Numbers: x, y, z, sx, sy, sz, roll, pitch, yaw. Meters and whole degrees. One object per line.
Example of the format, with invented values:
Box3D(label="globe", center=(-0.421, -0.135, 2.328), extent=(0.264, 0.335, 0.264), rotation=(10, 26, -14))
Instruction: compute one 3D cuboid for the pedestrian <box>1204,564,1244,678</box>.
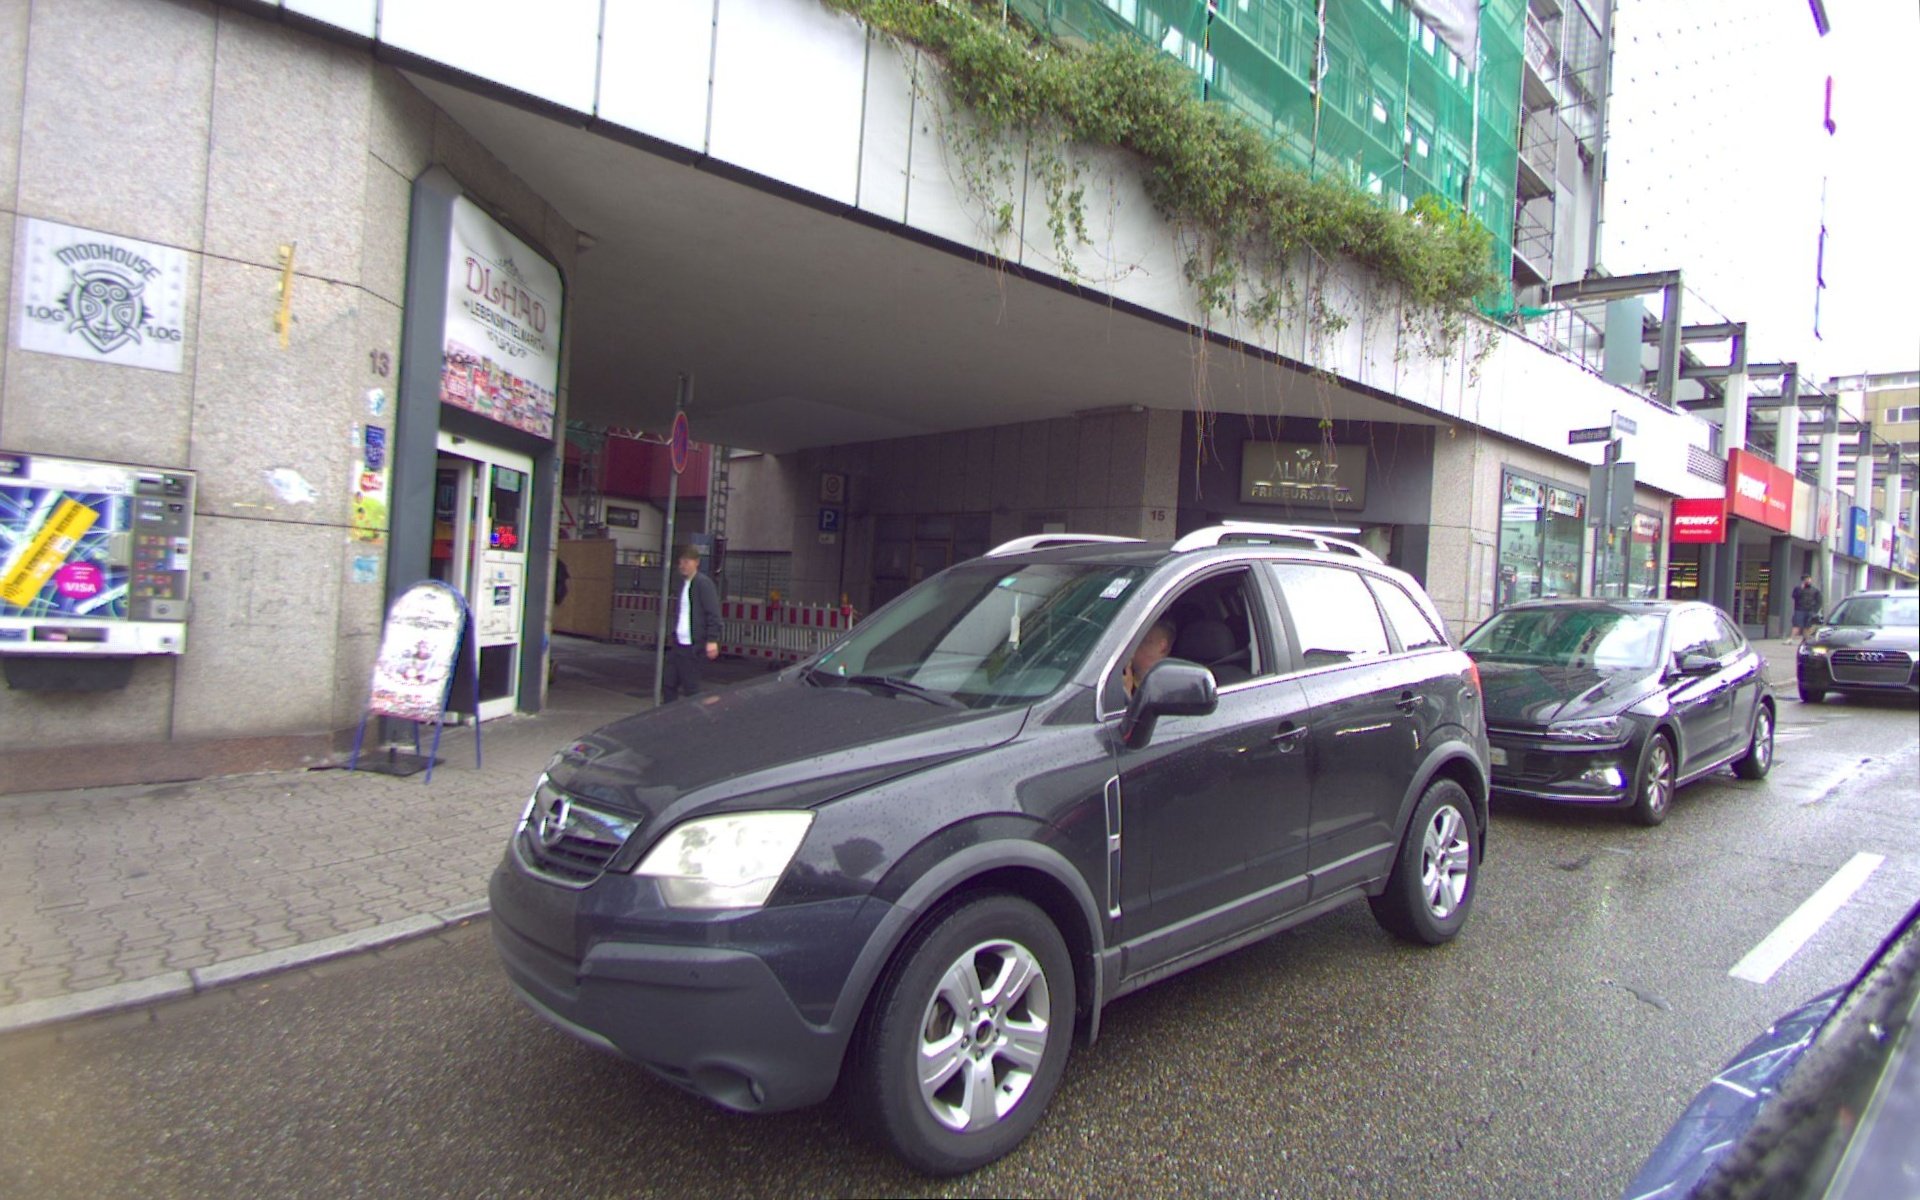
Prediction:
Box3D(label="pedestrian", center=(4.069, 0.314, 15.605), extent=(0.474, 1.729, 0.467), rotation=(-1, 0, 1))

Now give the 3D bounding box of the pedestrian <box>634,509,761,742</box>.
Box3D(label="pedestrian", center=(-2.200, 0.181, 8.475), extent=(0.760, 1.838, 0.743), rotation=(0, 3, -40))

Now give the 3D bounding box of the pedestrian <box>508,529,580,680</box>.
Box3D(label="pedestrian", center=(-5.345, 0.036, 12.988), extent=(0.757, 1.837, 0.745), rotation=(0, 5, -29))

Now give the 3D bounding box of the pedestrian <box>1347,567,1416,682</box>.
Box3D(label="pedestrian", center=(6.308, 0.350, 15.161), extent=(0.626, 1.663, 0.735), rotation=(-1, 1, -17))

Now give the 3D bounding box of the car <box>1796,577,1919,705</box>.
Box3D(label="car", center=(13.619, 0.500, 14.467), extent=(4.089, 1.628, 1.841), rotation=(-1, 1, -39))

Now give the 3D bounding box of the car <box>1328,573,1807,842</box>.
Box3D(label="car", center=(4.747, 0.626, 7.689), extent=(4.086, 1.523, 1.759), rotation=(1, 0, -38))

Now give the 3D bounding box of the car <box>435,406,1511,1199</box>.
Box3D(label="car", center=(0.410, 0.532, 3.976), extent=(4.090, 1.788, 1.763), rotation=(1, 0, -41))

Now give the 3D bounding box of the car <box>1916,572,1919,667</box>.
Box3D(label="car", center=(19.682, 0.391, 19.021), extent=(4.088, 1.728, 1.988), rotation=(1, 0, -39))

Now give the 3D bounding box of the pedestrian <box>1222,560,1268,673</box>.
Box3D(label="pedestrian", center=(4.173, 0.235, 14.805), extent=(0.630, 1.615, 0.574), rotation=(0, 1, 17))

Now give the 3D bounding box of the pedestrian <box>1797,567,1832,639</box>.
Box3D(label="pedestrian", center=(20.584, 0.067, 24.385), extent=(0.570, 1.699, 0.509), rotation=(-1, 3, -42))
